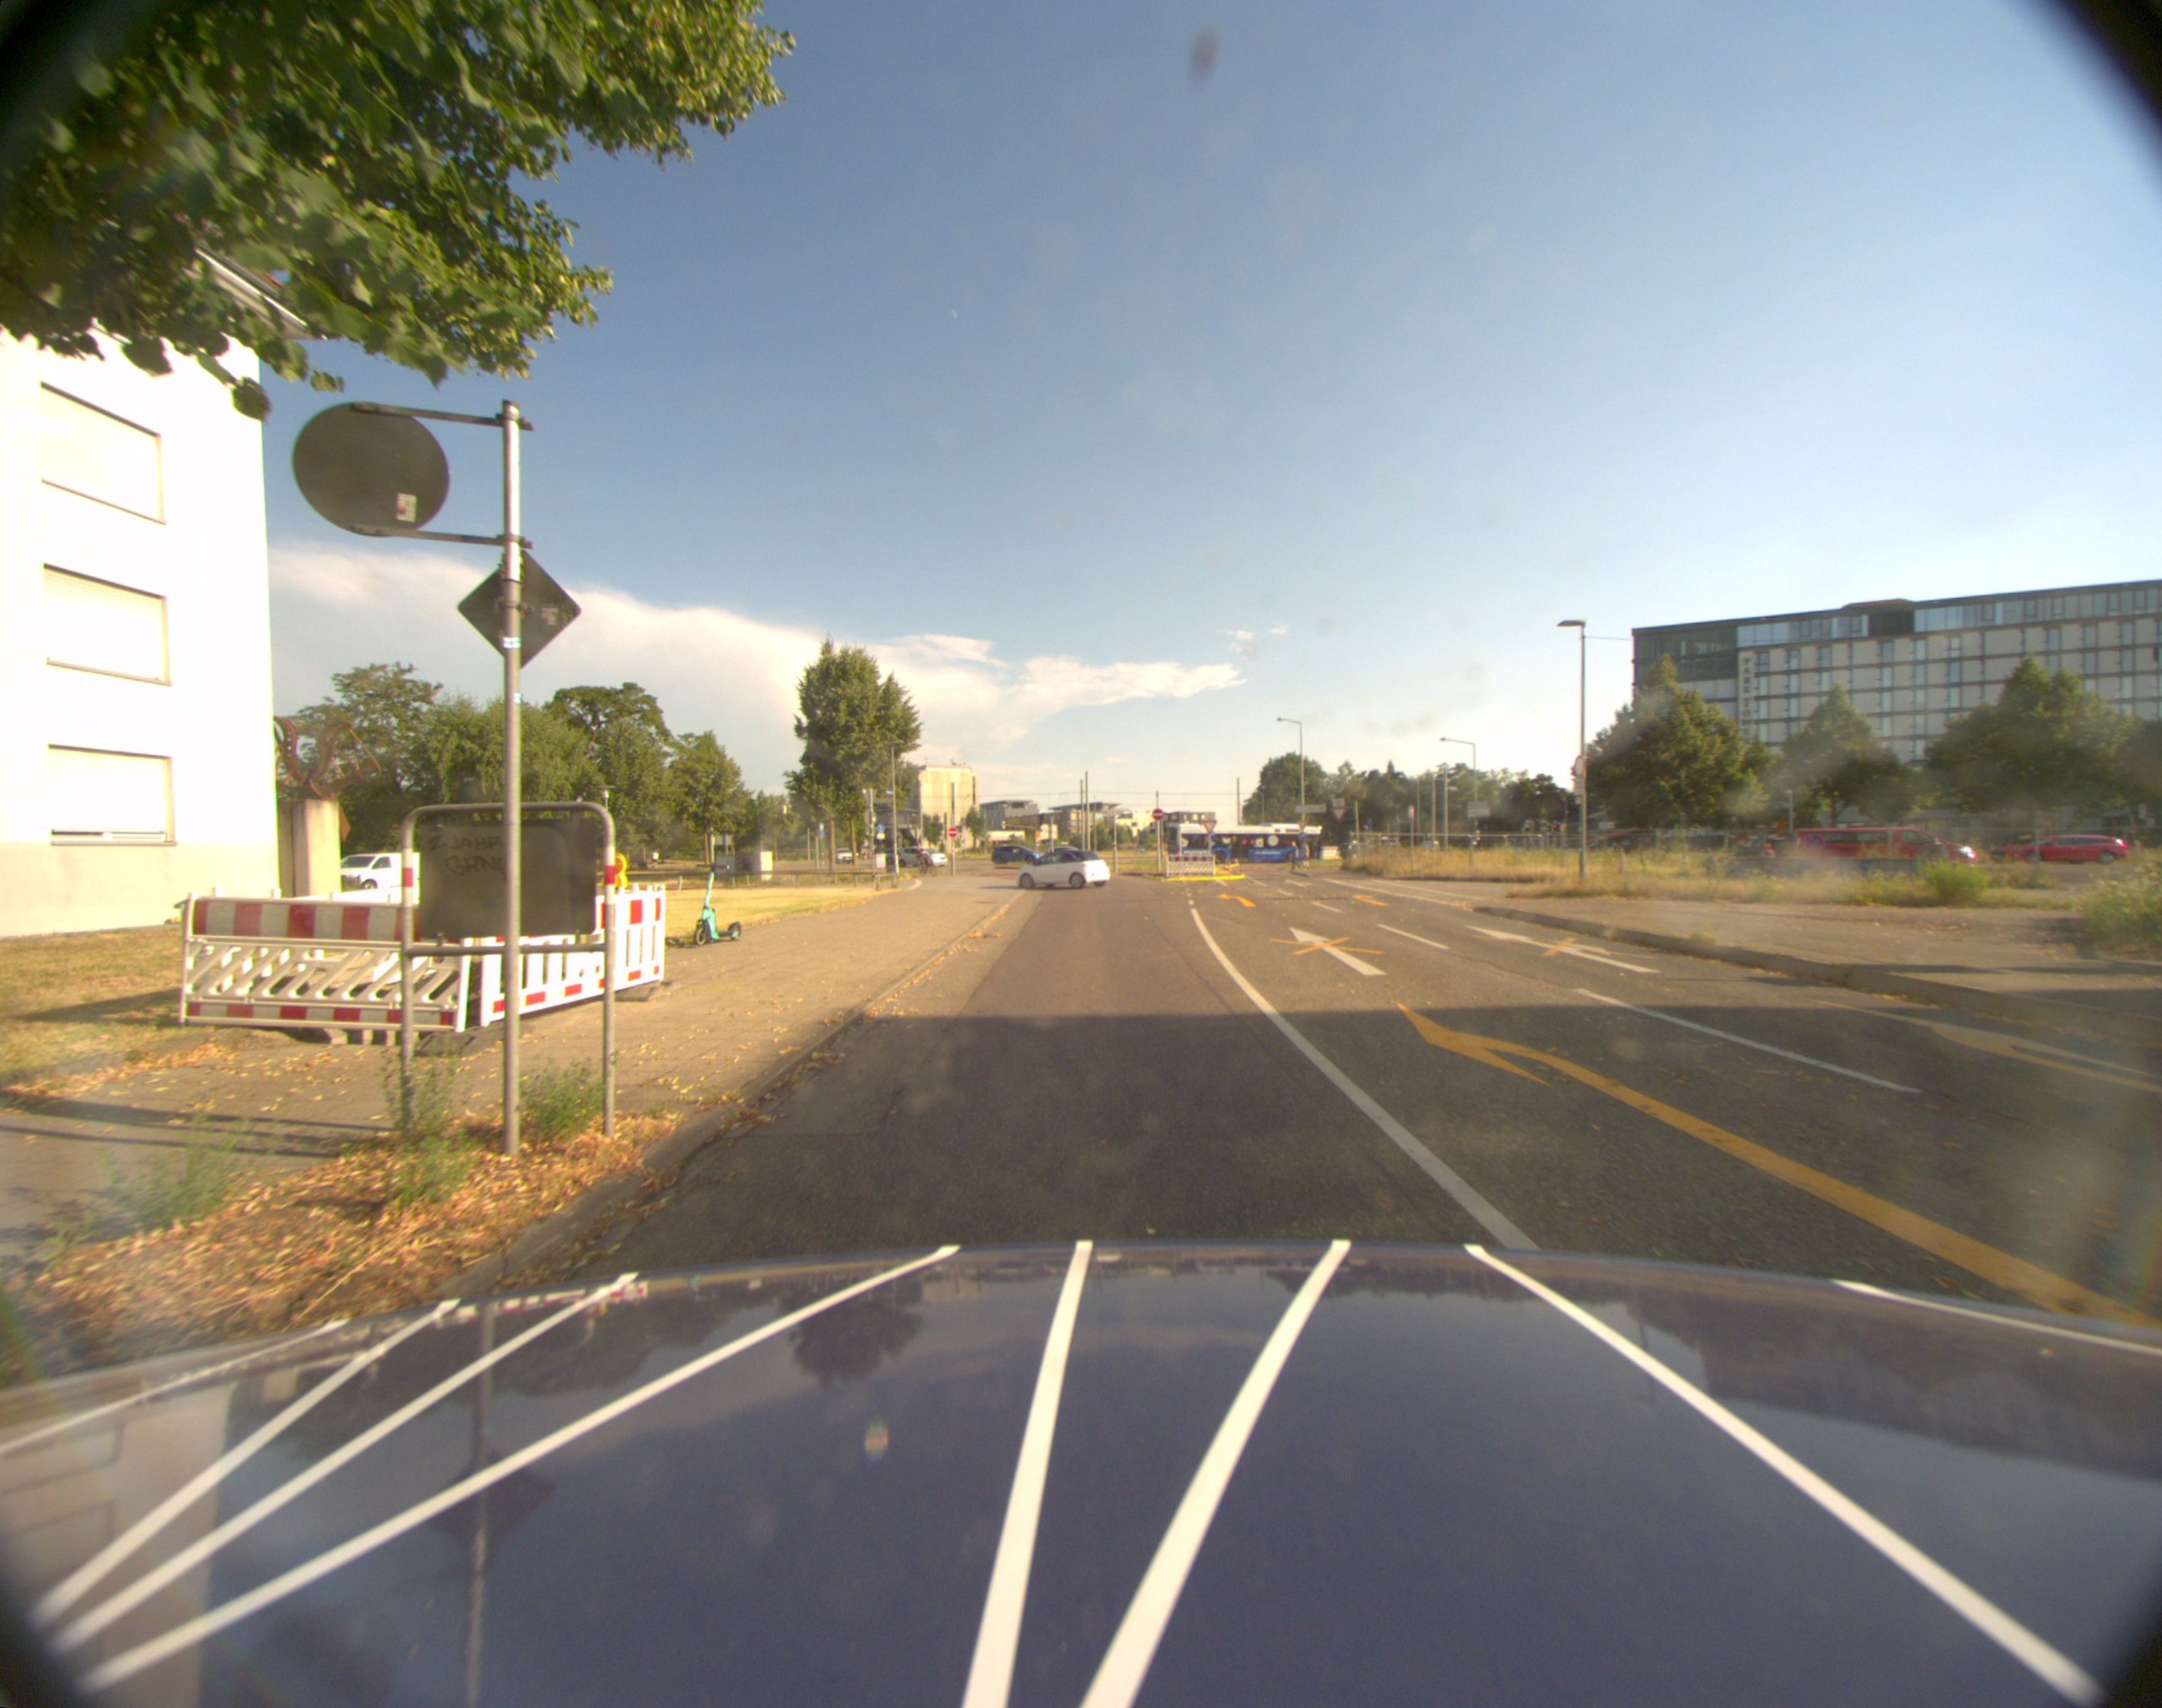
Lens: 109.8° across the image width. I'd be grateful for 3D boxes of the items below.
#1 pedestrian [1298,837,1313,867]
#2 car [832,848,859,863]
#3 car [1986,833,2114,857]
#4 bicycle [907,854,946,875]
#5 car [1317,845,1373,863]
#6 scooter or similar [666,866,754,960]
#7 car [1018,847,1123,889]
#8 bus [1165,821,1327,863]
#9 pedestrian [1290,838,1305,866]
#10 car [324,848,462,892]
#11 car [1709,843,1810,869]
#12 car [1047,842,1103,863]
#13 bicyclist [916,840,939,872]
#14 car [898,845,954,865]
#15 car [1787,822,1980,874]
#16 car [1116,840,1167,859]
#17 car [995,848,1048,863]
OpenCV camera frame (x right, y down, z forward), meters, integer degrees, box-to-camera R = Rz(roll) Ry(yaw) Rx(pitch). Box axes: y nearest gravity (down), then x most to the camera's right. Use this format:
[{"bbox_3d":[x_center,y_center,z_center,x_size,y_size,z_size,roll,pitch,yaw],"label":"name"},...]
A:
[{"bbox_3d":[13.291,-0.100,45.043,0.770,1.765,0.761,0,1,22],"label":"pedestrian"},{"bbox_3d":[-23.441,0.146,75.474,2.097,1.376,4.580,-1,1,-23],"label":"car"},{"bbox_3d":[50.027,-0.462,39.326,3.925,1.159,1.333,0,1,24],"label":"car"},{"bbox_3d":[-8.558,0.597,42.023,2.120,1.117,0.642,0,2,25],"label":"bicycle"},{"bbox_3d":[23.247,-0.027,66.954,4.388,1.428,1.809,-1,1,-12],"label":"car"},{"bbox_3d":[-5.634,0.859,11.632,0.560,1.285,1.462,3,1,1],"label":"scooter or similar"},{"bbox_3d":[-0.425,0.541,29.140,3.615,1.413,1.767,-2,1,33],"label":"car"},{"bbox_3d":[12.815,-0.967,59.078,12.181,3.044,2.663,-1,1,-11],"label":"bus"},{"bbox_3d":[13.082,-0.138,45.992,0.811,1.699,0.787,0,1,20],"label":"pedestrian"},{"bbox_3d":[-35.232,0.750,39.160,2.268,2.002,5.217,-1,2,0],"label":"car"},{"bbox_3d":[37.954,0.067,42.655,1.998,1.355,4.245,0,1,3],"label":"car"},{"bbox_3d":[-0.440,-0.110,57.273,3.995,1.515,2.001,0,1,6],"label":"car"},{"bbox_3d":[-8.487,0.110,41.995,0.936,1.790,0.729,0,2,25],"label":"bicyclist"},{"bbox_3d":[-12.302,0.074,60.337,4.038,1.542,1.915,0,1,25],"label":"car"},{"bbox_3d":[33.310,-0.258,31.845,5.297,2.002,2.004,0,1,38],"label":"car"},{"bbox_3d":[5.105,-0.385,64.102,4.000,1.521,1.776,0,1,-10],"label":"car"},{"bbox_3d":[-4.821,0.152,62.034,3.992,1.171,1.647,0,1,15],"label":"car"}]
